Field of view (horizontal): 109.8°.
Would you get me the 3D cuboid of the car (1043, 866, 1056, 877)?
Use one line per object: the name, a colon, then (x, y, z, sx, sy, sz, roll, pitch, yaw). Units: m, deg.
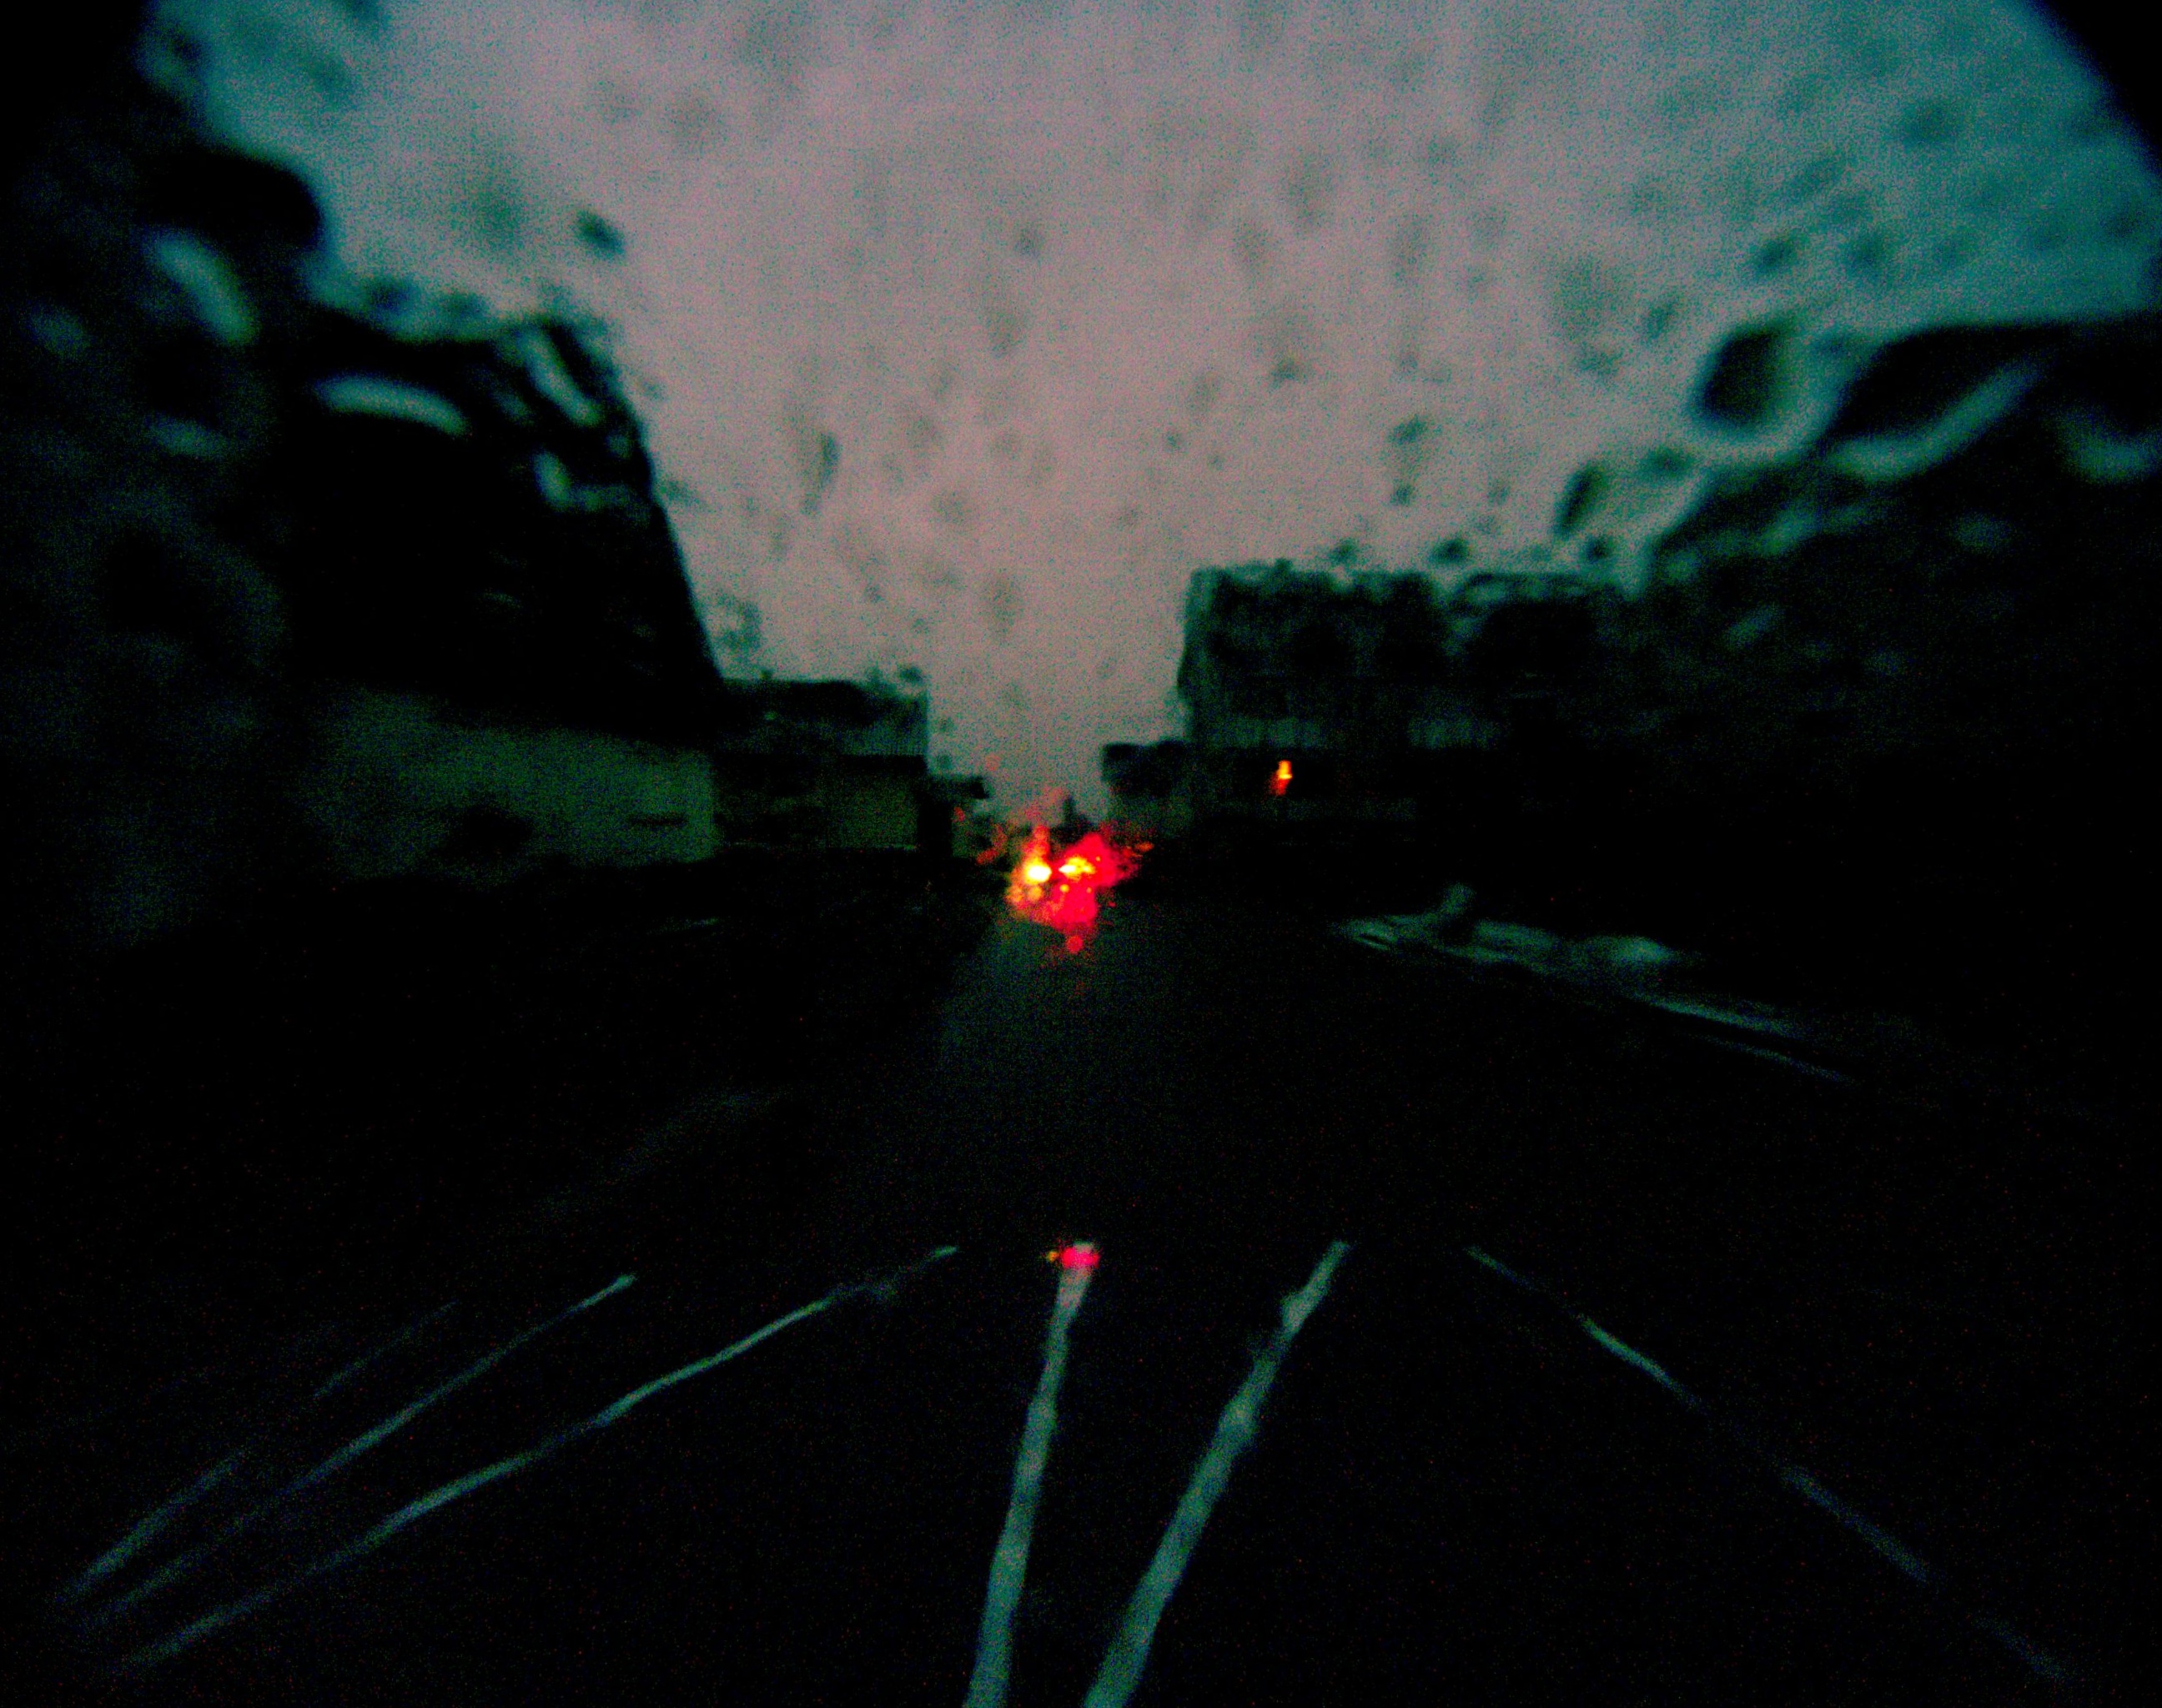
car: (-5.261, 2.870, 127.810, 1.794, 1.763, 3.891, 1, -1, 5)

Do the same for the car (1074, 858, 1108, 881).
car: (0.639, 1.034, 50.690, 1.739, 1.435, 4.437, 1, -1, -6)

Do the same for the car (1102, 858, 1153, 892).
car: (2.003, 0.906, 33.985, 1.670, 1.409, 3.689, -1, 0, -6)

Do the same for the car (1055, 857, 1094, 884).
car: (-0.437, 0.962, 44.426, 1.779, 1.486, 4.377, 1, -1, -7)

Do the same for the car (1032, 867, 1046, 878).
car: (-5.960, 2.632, 107.284, 1.756, 1.486, 4.250, 1, -1, -1)

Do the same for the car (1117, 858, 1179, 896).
car: (2.548, 0.877, 29.709, 1.673, 1.401, 3.912, 0, -1, -6)

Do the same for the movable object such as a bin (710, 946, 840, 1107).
movable object such as a bin: (-2.107, 1.170, 5.292, 0.615, 0.941, 0.595, 4, 2, 1)
